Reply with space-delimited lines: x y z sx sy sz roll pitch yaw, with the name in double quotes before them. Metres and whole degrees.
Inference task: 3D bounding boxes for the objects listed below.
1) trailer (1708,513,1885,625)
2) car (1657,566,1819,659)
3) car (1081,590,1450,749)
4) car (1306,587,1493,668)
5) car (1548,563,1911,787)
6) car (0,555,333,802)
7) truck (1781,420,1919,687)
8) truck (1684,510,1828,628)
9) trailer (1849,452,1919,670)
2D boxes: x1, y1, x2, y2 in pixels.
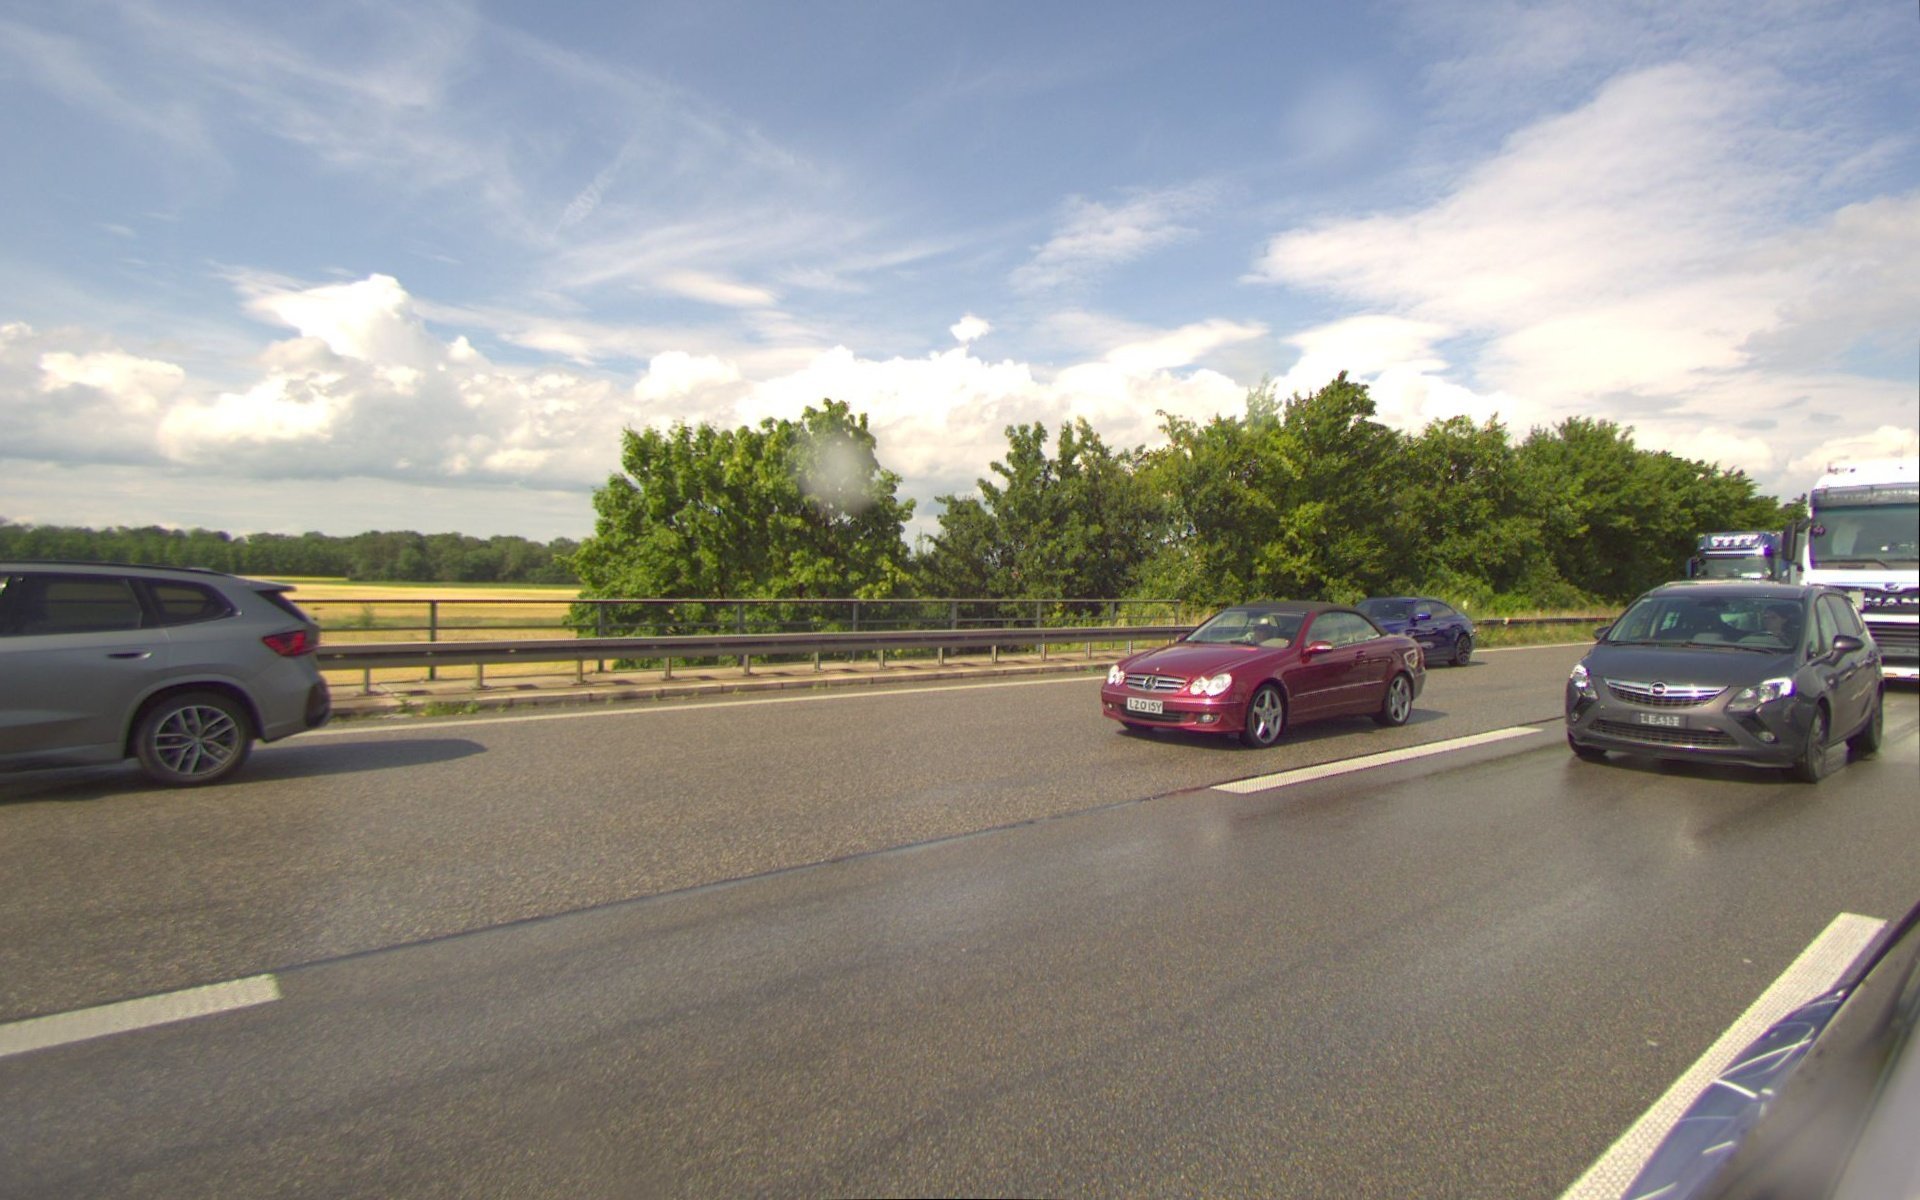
"trailer" 35.684 -1.233 42.731 16.055 4.003 3.110 -1 1 -41
"car" 17.920 0.221 23.212 5.076 1.909 1.954 -1 1 -41
"car" 3.506 0.612 11.175 4.430 1.428 1.755 0 0 -39
"car" 9.135 0.490 20.874 4.427 1.481 1.790 -1 0 -41
"car" 7.488 0.538 9.685 4.319 1.668 1.883 0 1 -40
"car" -6.984 0.512 7.118 4.210 1.606 1.752 -1 0 -39
"truck" 17.633 -0.757 18.304 7.311 4.158 2.817 0 0 -39
"truck" 29.446 -1.116 37.370 5.764 4.003 3.110 -1 1 -41
"trailer" 22.975 -0.792 22.583 11.330 4.158 2.790 -1 0 -39
